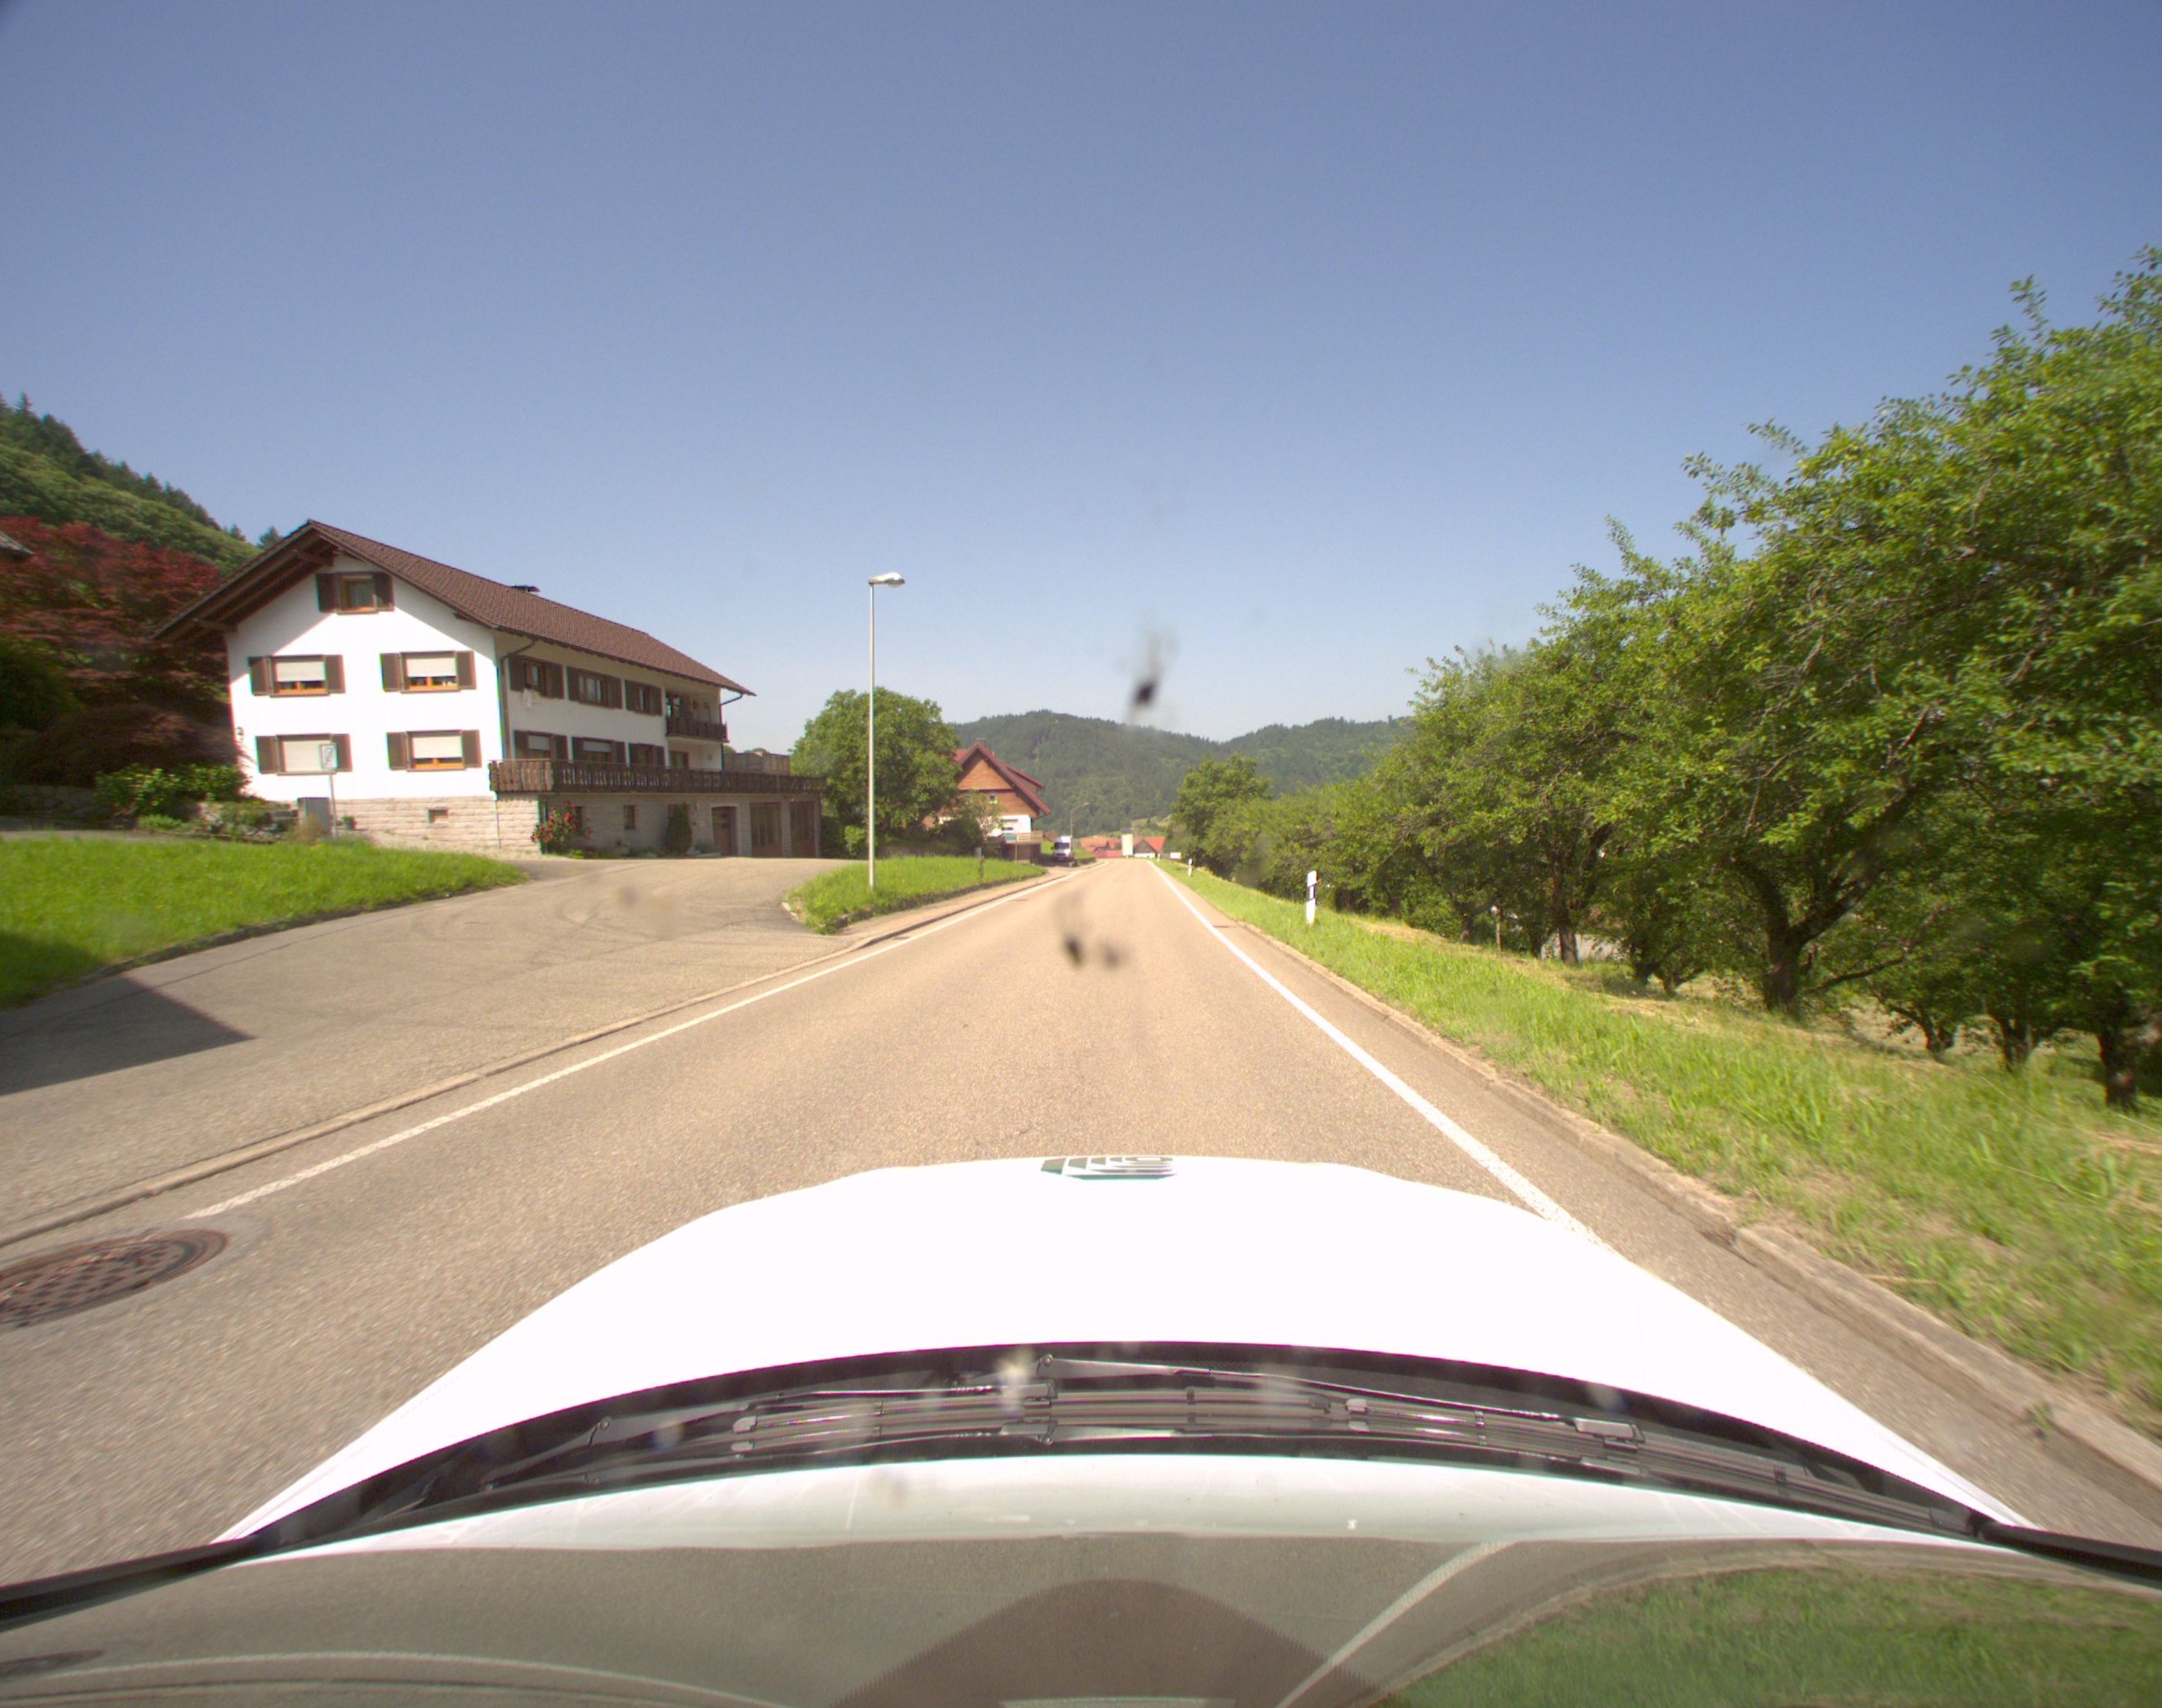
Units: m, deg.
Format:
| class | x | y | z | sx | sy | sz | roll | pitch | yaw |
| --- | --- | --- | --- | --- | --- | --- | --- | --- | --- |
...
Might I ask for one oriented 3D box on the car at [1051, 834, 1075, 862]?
| class | x | y | z | sx | sy | sz | roll | pitch | yaw |
| --- | --- | --- | --- | --- | --- | --- | --- | --- | --- |
| car | -1.905 | -0.725 | 88.645 | 2.059 | 2.688 | 7.182 | -1 | 3 | 3 |
